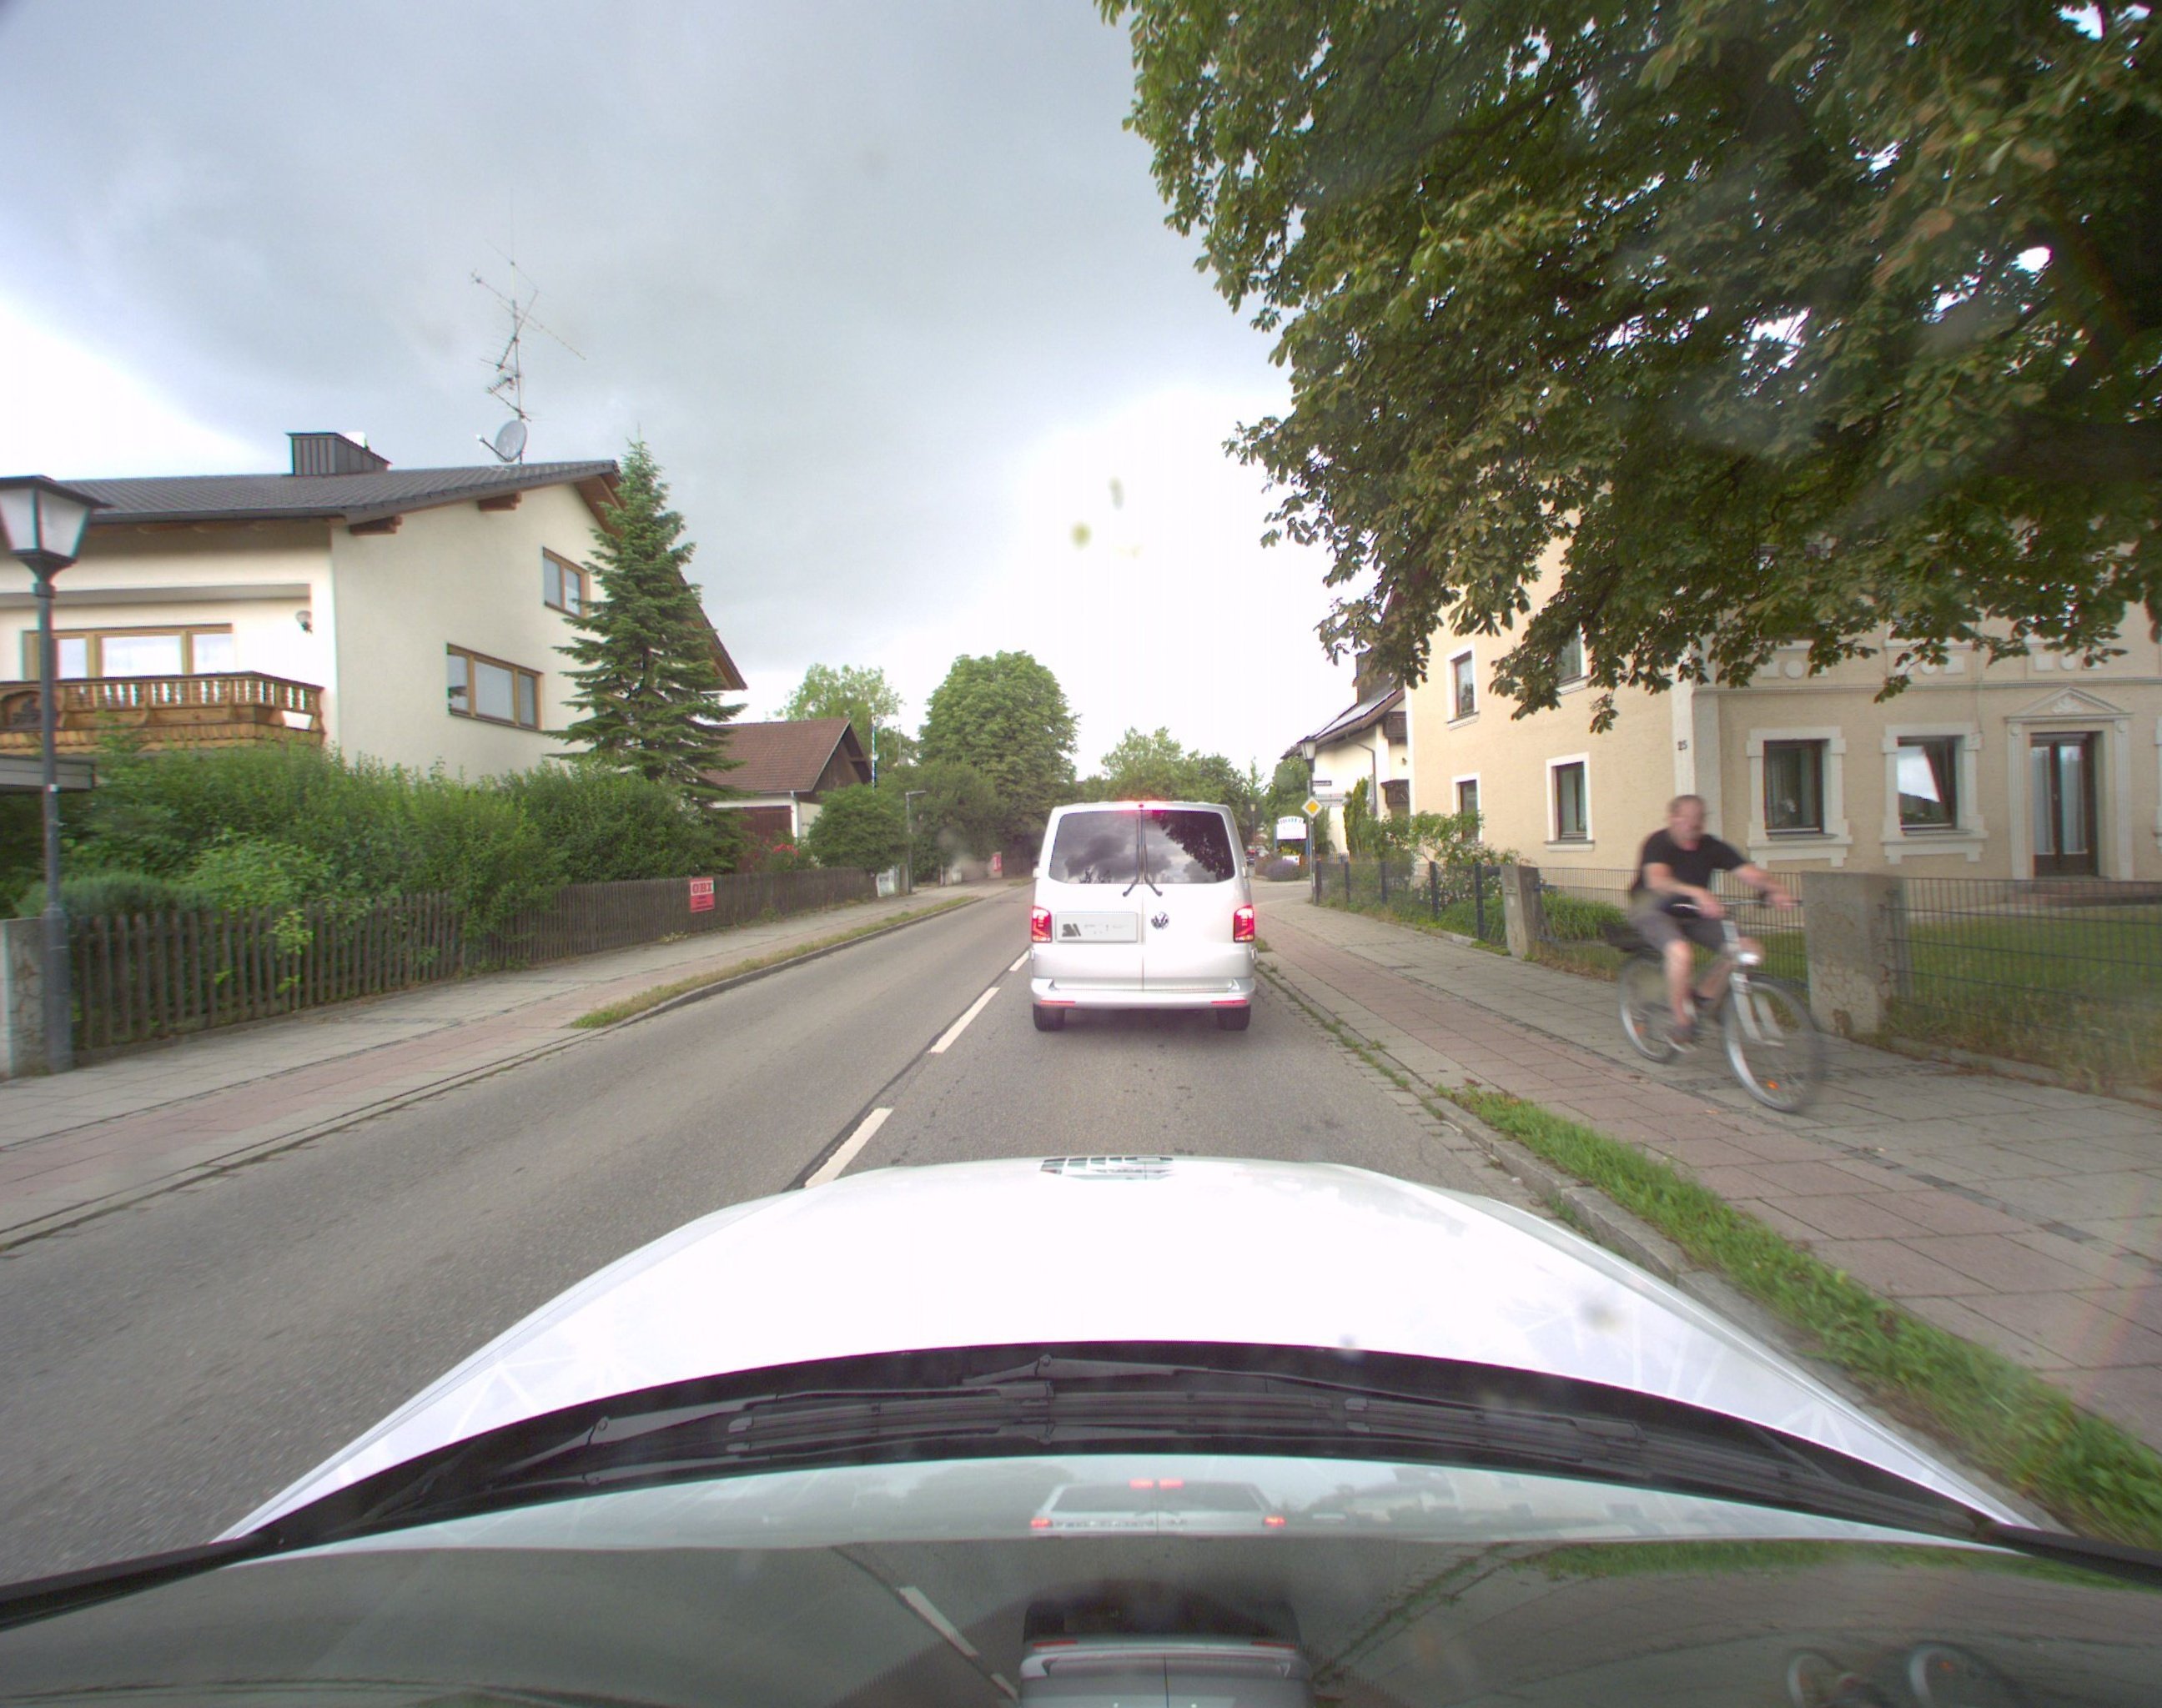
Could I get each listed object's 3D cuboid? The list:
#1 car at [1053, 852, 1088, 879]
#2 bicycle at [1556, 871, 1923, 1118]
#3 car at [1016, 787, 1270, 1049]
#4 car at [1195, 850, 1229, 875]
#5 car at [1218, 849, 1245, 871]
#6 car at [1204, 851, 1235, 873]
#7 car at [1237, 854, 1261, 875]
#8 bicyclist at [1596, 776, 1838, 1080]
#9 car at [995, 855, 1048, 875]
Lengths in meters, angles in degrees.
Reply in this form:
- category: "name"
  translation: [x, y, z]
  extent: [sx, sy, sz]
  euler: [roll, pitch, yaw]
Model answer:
- category: "car"
  translation: [-0.592, 0.671, 49.908]
  extent: [1.923, 1.575, 4.314]
  euler: [0, 0, 2]
- category: "bicycle"
  translation: [3.725, 0.700, 4.868]
  extent: [0.761, 1.143, 1.847]
  euler: [-2, 0, 4]
- category: "car"
  translation: [0.568, 0.490, 8.151]
  extent: [1.873, 1.940, 3.924]
  euler: [-2, 0, 3]
- category: "car"
  translation: [8.851, 0.549, 54.785]
  extent: [1.868, 1.535, 3.936]
  euler: [-2, 0, 14]
- category: "car"
  translation: [12.530, 0.450, 67.584]
  extent: [1.867, 1.748, 4.097]
  euler: [-2, 0, 15]
- category: "car"
  translation: [10.351, 0.542, 60.678]
  extent: [1.867, 1.535, 3.937]
  euler: [-2, 0, 16]
- category: "car"
  translation: [15.721, 0.963, 76.015]
  extent: [1.867, 1.825, 3.937]
  euler: [-2, 0, 16]
- category: "bicyclist"
  translation: [3.718, 0.401, 4.847]
  extent: [0.733, 1.632, 0.891]
  euler: [-1, 0, 3]
- category: "car"
  translation: [-4.629, 0.832, 62.945]
  extent: [3.982, 1.486, 1.996]
  euler: [-1, 0, -6]
